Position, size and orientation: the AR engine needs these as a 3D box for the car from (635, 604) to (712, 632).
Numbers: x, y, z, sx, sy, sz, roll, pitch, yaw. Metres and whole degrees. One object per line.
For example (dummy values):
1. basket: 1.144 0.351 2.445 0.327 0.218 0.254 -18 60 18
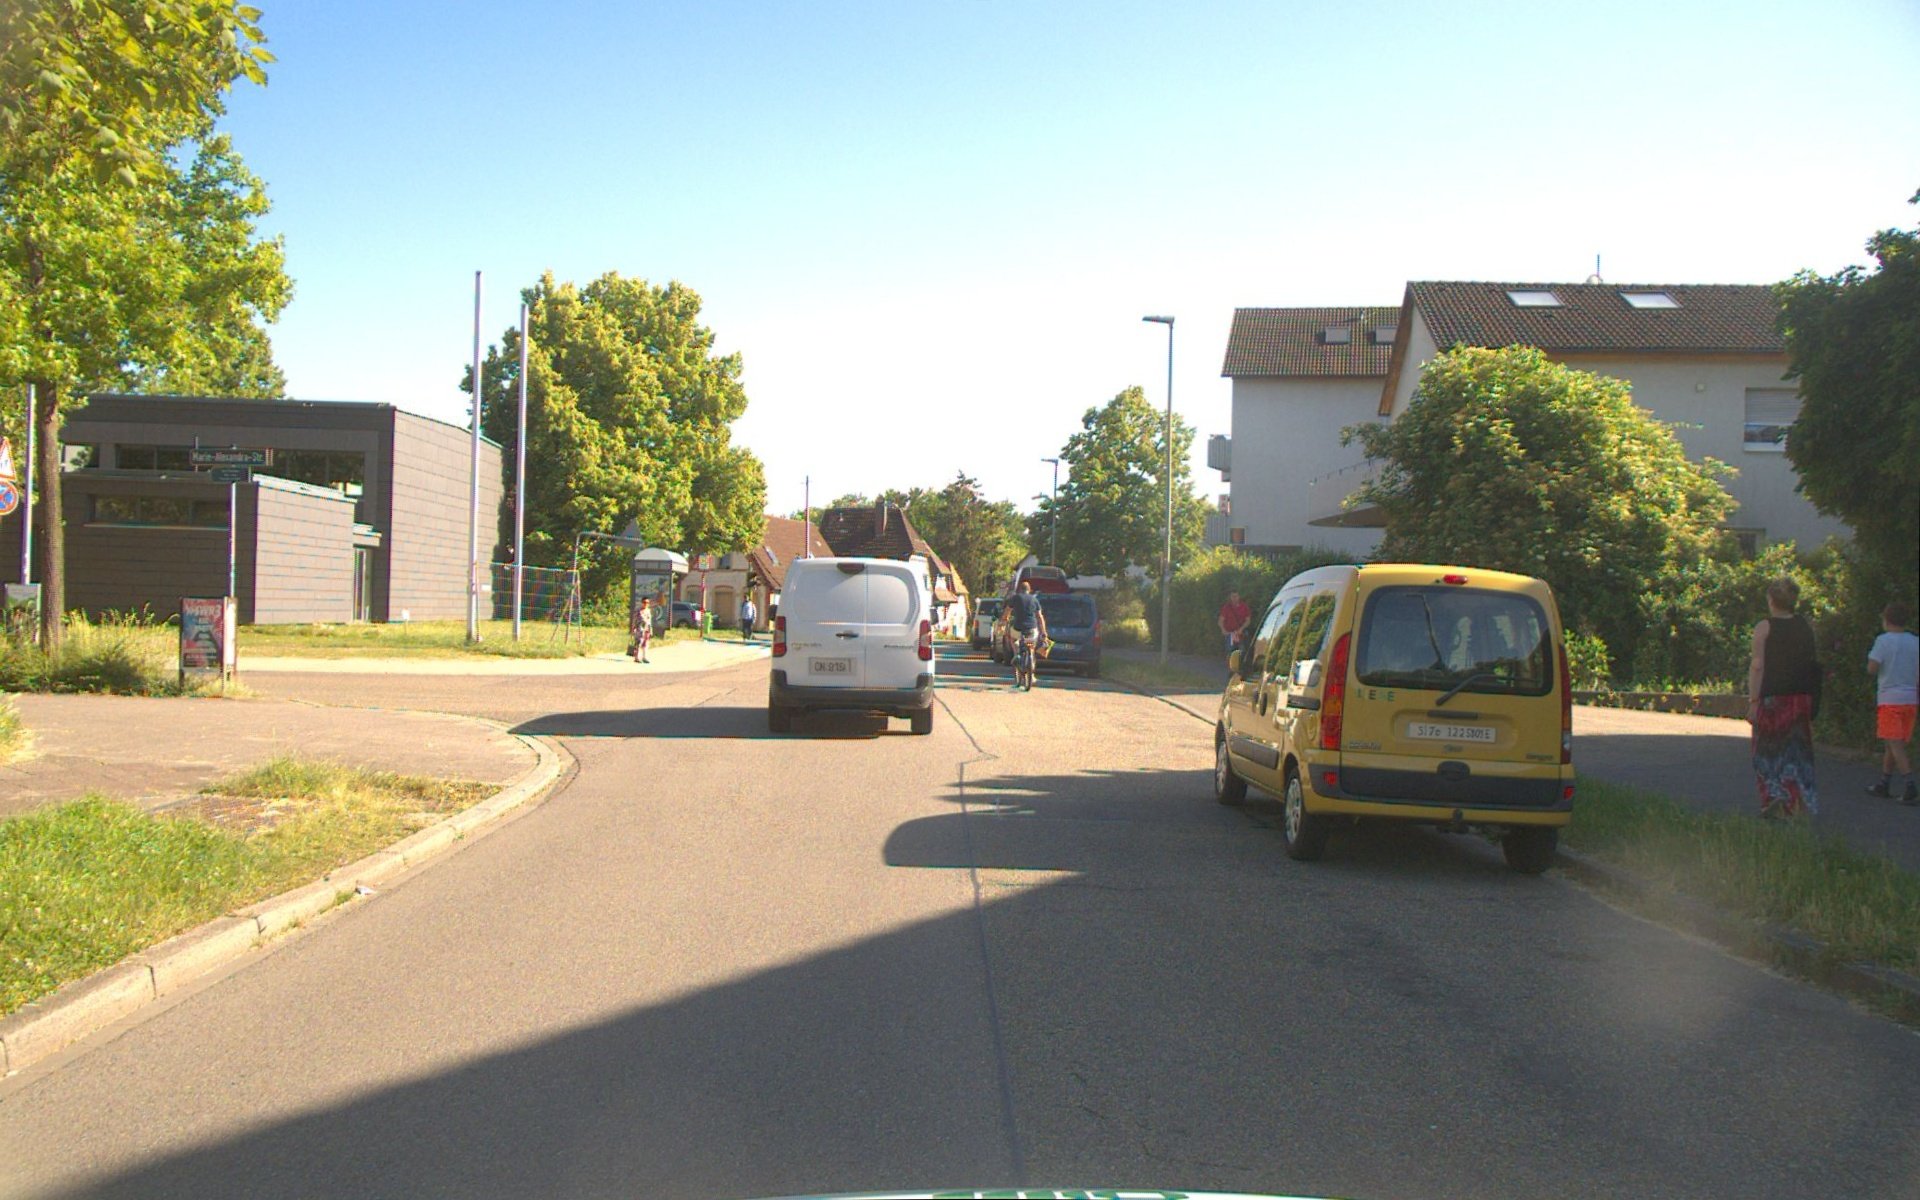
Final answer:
1. car: -16.146 1.008 93.244 3.893 1.454 1.716 2 0 16

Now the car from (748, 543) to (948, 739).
1. car: -1.278 0.414 18.851 1.954 1.914 4.285 2 0 -4

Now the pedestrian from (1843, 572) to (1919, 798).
1. pedestrian: 7.115 0.631 12.522 0.555 1.665 0.547 1 0 4

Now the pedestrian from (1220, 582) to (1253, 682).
1. pedestrian: 5.231 0.606 31.300 0.474 1.863 0.486 -2 0 -3

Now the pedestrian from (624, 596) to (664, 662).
1. pedestrian: -7.222 0.663 37.813 0.500 1.471 0.637 4 0 32

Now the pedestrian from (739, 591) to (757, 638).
1. pedestrian: -8.372 0.562 65.369 0.608 1.836 0.640 1 -2 -3

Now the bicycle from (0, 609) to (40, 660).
1. bicycle: -17.668 0.638 30.662 0.432 0.903 1.012 1 1 44

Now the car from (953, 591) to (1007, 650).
1. car: 0.753 0.806 64.228 1.768 2.105 3.997 3 -1 -3

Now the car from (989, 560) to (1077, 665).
1. car: 1.931 0.354 44.949 1.829 2.607 4.765 3 -1 -3

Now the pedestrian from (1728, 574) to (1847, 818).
1. pedestrian: 5.837 0.659 11.688 0.555 1.665 0.547 1 0 4

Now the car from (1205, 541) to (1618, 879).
1. car: 2.865 0.632 11.394 1.689 1.869 3.999 2 0 0

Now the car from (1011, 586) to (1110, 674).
1. car: 2.254 0.687 37.973 1.768 1.816 3.997 3 -1 -3

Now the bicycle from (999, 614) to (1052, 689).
1. bicycle: 1.096 0.854 28.046 0.771 1.158 2.280 2 0 0

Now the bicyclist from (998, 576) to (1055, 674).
1. bicyclist: 1.112 0.420 28.031 0.887 1.612 0.966 2 -1 0
